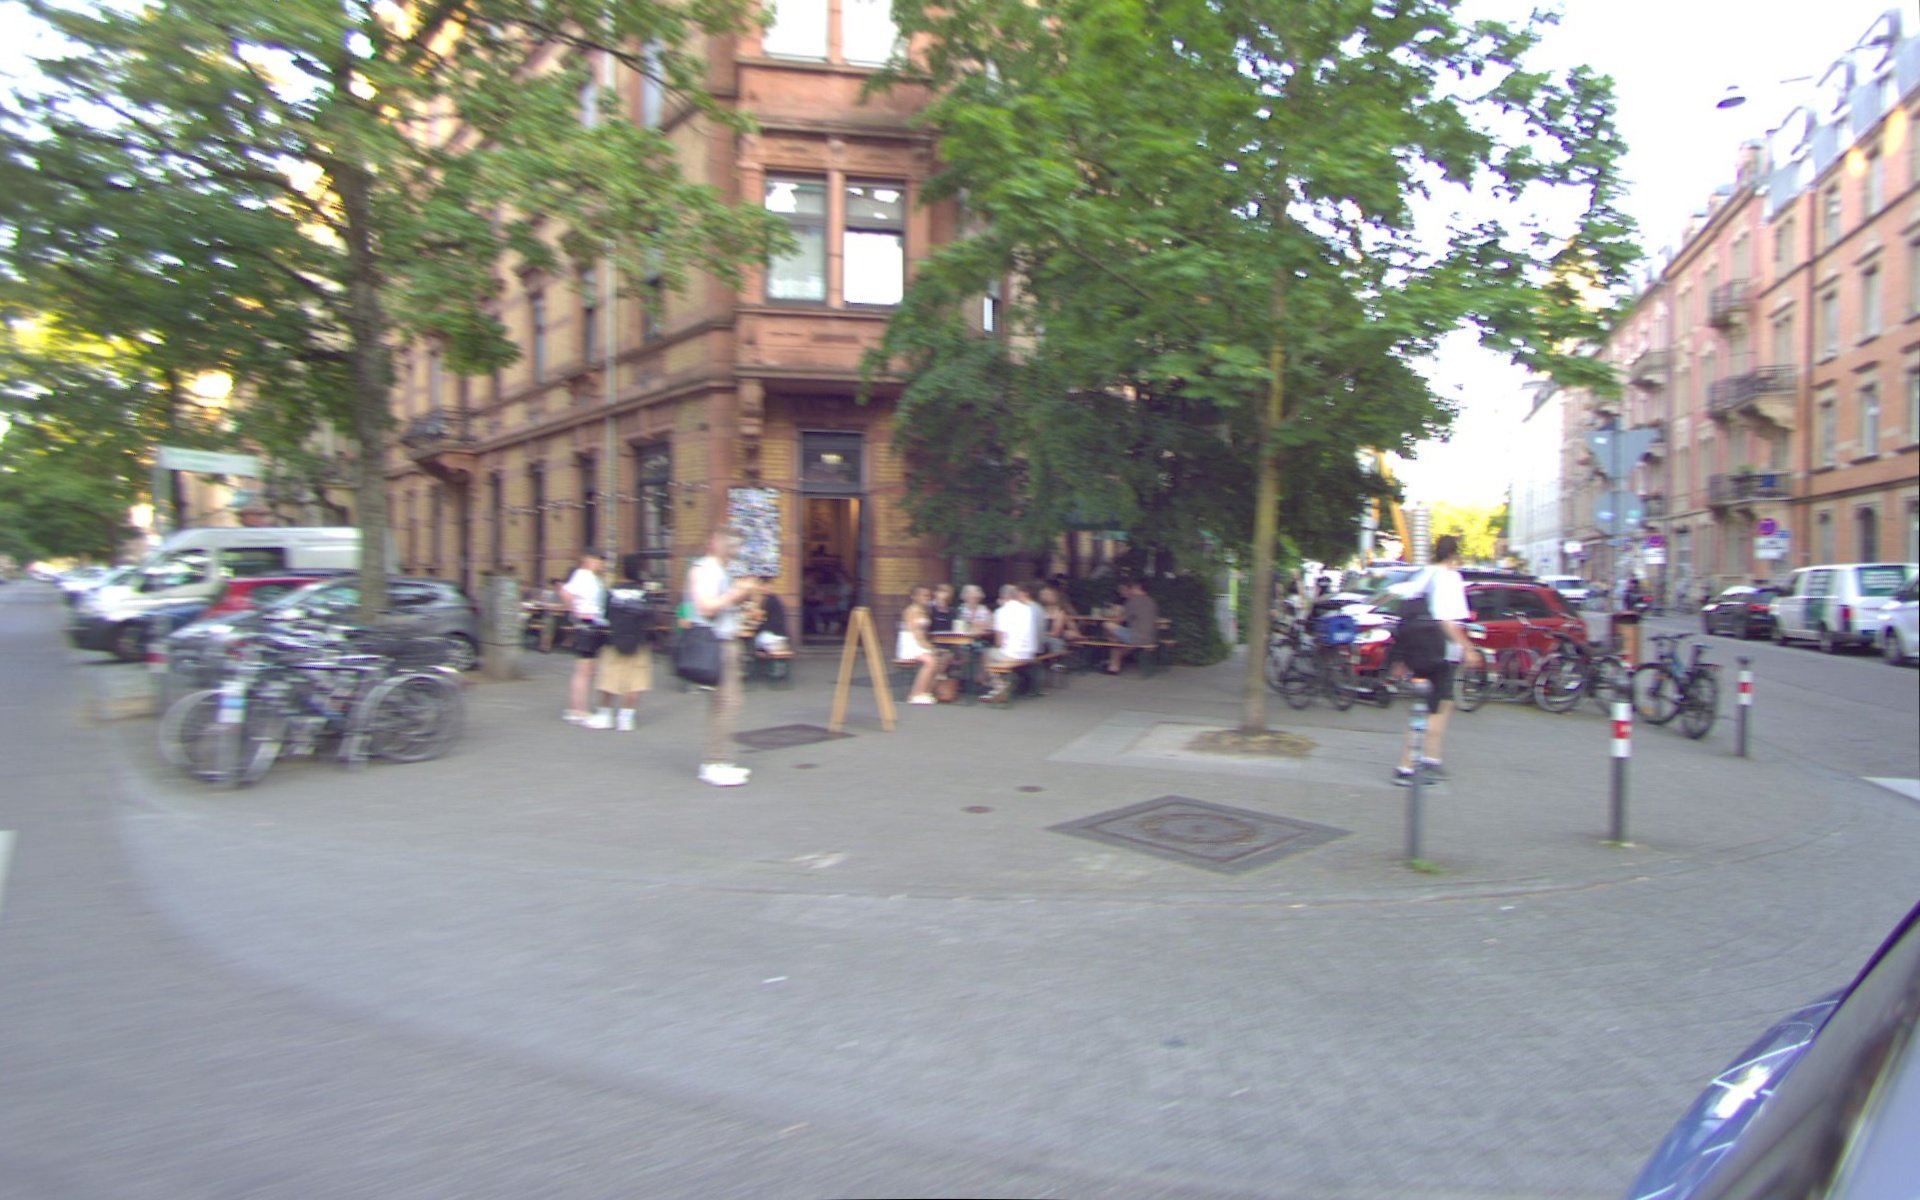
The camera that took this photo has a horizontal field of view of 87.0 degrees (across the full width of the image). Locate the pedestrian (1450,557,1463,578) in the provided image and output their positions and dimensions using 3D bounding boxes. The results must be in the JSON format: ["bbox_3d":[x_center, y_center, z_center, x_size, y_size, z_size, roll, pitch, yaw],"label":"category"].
[{"bbox_3d":[67.559,-4.412,137.772,1.429,2.774,1.005,-1,1,22],"label":"pedestrian"}]

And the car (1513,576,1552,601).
[{"bbox_3d":[38.383,-0.797,67.905,1.912,1.616,3.938,0,1,24],"label":"car"}]

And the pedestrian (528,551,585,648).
[{"bbox_3d":[-7.296,-0.029,18.310,0.733,1.698,0.766,-2,1,-38],"label":"pedestrian"}]

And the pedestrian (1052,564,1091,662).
[{"bbox_3d":[1.663,0.183,15.048,0.506,1.426,0.618,-1,1,10],"label":"pedestrian"}]

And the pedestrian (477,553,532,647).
[{"bbox_3d":[-8.429,-0.014,18.713,0.733,1.698,0.766,-2,1,-38],"label":"pedestrian"}]

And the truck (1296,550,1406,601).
[{"bbox_3d":[25.380,-1.551,65.679,6.436,3.114,2.502,-1,1,27],"label":"truck"}]

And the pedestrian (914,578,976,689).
[{"bbox_3d":[-0.179,0.388,12.150,0.540,1.285,0.569,-1,1,24],"label":"pedestrian"}]

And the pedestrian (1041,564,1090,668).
[{"bbox_3d":[1.490,0.214,14.335,0.504,1.426,0.621,-1,1,-10],"label":"pedestrian"}]

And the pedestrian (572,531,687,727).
[{"bbox_3d":[-3.135,0.241,9.567,0.851,1.745,0.838,-2,1,-30],"label":"pedestrian"}]

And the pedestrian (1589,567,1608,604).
[{"bbox_3d":[32.169,-0.730,51.029,0.591,1.836,0.717,-1,1,14],"label":"pedestrian"}]

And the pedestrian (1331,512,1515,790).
[{"bbox_3d":[3.281,0.313,7.170,0.932,1.792,0.867,-2,1,-42],"label":"pedestrian"}]

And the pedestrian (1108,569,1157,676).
[{"bbox_3d":[2.354,0.298,13.798,0.629,1.426,0.513,-1,1,11],"label":"pedestrian"}]

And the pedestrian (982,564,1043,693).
[{"bbox_3d":[0.586,0.304,11.257,0.539,1.397,0.464,-1,1,21],"label":"pedestrian"}]

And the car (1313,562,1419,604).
[{"bbox_3d":[21.658,-0.900,54.129,5.131,1.980,1.885,3,1,23],"label":"car"}]

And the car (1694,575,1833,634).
[{"bbox_3d":[22.354,0.066,28.342,1.820,1.489,4.145,0,2,20],"label":"car"}]

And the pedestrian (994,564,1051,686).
[{"bbox_3d":[0.739,0.282,11.950,0.539,1.397,0.464,-1,1,21],"label":"pedestrian"}]

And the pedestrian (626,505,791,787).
[{"bbox_3d":[-1.804,0.286,7.241,0.822,1.850,0.867,-2,1,-39],"label":"pedestrian"}]

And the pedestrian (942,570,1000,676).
[{"bbox_3d":[0.143,0.276,12.732,0.540,1.285,0.569,-1,1,24],"label":"pedestrian"}]

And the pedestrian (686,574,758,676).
[{"bbox_3d":[-3.277,0.329,13.969,0.621,1.362,0.734,-1,1,26],"label":"pedestrian"}]

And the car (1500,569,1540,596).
[{"bbox_3d":[40.284,-1.285,72.873,1.911,1.906,4.871,0,1,21],"label":"car"}]

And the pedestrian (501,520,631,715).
[{"bbox_3d":[-3.928,0.159,10.142,0.825,1.850,0.864,-1,1,17],"label":"pedestrian"}]

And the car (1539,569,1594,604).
[{"bbox_3d":[32.691,-0.772,54.661,1.754,1.811,4.557,0,2,21],"label":"car"}]

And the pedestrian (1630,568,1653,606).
[{"bbox_3d":[32.945,-0.636,48.921,0.675,1.833,0.956,-1,1,18],"label":"pedestrian"}]

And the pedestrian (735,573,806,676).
[{"bbox_3d":[-2.586,0.317,13.850,0.621,1.362,0.734,-1,1,26],"label":"pedestrian"}]

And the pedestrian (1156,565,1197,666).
[{"bbox_3d":[3.123,0.217,14.623,0.546,1.426,0.513,-1,1,11],"label":"pedestrian"}]

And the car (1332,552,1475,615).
[{"bbox_3d":[17.933,-0.682,41.056,4.842,2.392,2.002,1,1,-3],"label":"car"}]

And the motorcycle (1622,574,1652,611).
[{"bbox_3d":[27.399,-0.314,40.979,0.679,1.422,1.998,-1,1,25],"label":"motorcycle"}]

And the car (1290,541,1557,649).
[{"bbox_3d":[10.332,-0.107,22.648,5.322,2.098,1.938,2,1,-15],"label":"car"}]

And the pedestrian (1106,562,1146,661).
[{"bbox_3d":[2.445,0.156,14.889,0.546,1.426,0.513,-1,1,11],"label":"pedestrian"}]

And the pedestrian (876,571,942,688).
[{"bbox_3d":[-0.580,0.323,11.605,0.540,1.285,0.569,-1,1,24],"label":"pedestrian"}]

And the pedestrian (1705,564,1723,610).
[{"bbox_3d":[30.019,-0.507,40.287,0.460,1.811,0.636,-1,1,26],"label":"pedestrian"}]

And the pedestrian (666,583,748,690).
[{"bbox_3d":[-3.078,0.426,12.328,0.621,1.247,0.734,-1,1,26],"label":"pedestrian"}]

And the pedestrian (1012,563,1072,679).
[{"bbox_3d":[1.023,0.249,12.599,0.541,1.397,0.568,-1,1,30],"label":"pedestrian"}]

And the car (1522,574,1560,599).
[{"bbox_3d":[36.650,-0.870,63.920,1.692,1.549,3.762,0,1,24],"label":"car"}]

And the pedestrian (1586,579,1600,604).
[{"bbox_3d":[32.408,-0.448,51.817,0.474,1.266,0.648,-1,1,23],"label":"pedestrian"}]
